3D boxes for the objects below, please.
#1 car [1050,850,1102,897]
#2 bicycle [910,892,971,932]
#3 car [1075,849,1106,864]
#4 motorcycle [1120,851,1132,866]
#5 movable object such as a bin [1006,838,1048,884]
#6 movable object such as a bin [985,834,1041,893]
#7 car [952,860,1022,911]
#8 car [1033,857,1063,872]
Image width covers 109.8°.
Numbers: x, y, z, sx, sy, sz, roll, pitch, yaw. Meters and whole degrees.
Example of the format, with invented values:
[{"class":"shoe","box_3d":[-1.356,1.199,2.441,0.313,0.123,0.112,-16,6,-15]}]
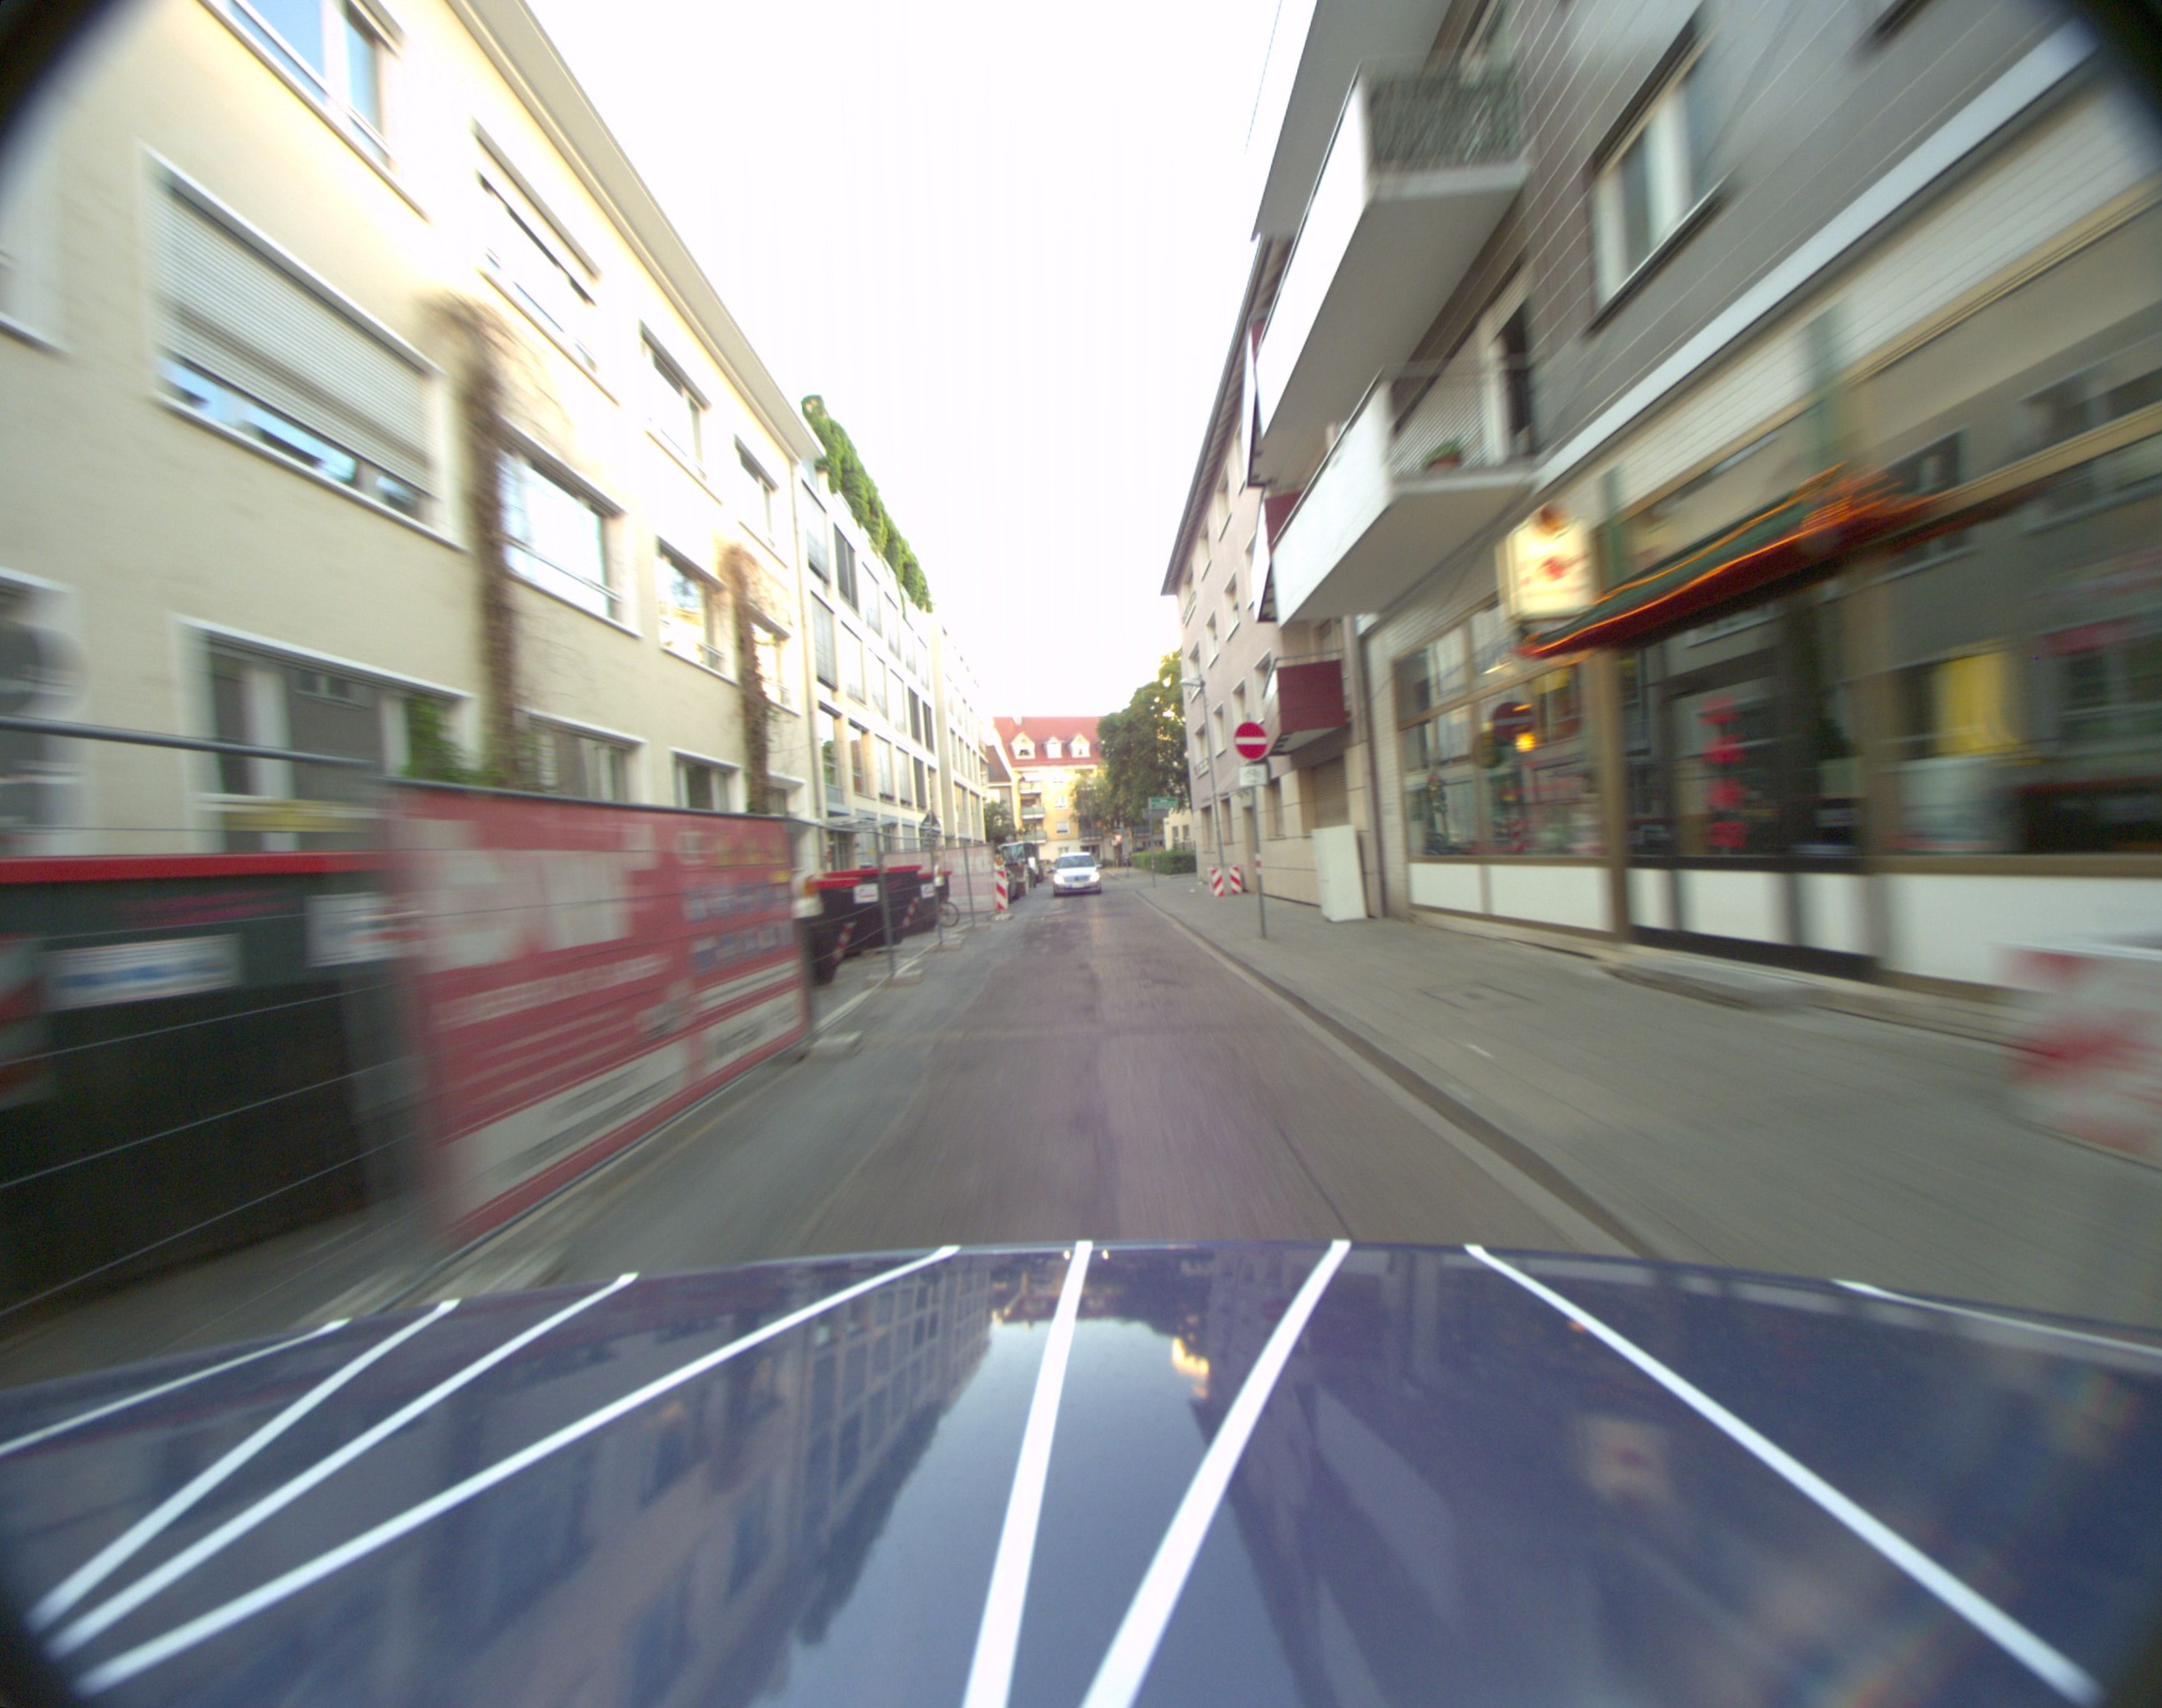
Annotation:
[{"class":"car","box_3d":[-0.158,0.718,29.730,1.804,1.607,4.273,-3,-1,0]},{"class":"bicycle","box_3d":[-3.525,1.453,18.910,1.803,0.903,0.460,-5,0,44]},{"class":"car","box_3d":[0.996,0.258,83.136,1.829,1.460,4.320,-4,2,-22]},{"class":"motorcycle","box_3d":[4.302,0.425,72.060,0.858,1.345,1.960,-4,0,9]},{"class":"movable object such as a bin","box_3d":[-3.428,0.440,49.396,2.021,2.608,5.750,-7,0,1]},{"class":"movable object such as a bin","box_3d":[-3.386,0.463,39.060,2.021,2.608,5.751,-7,0,1]},{"class":"car","box_3d":[-3.259,1.057,27.245,1.792,1.463,4.445,-6,0,0]},{"class":"car","box_3d":[-3.562,1.053,81.028,1.749,1.395,4.238,-4,2,-22]}]
